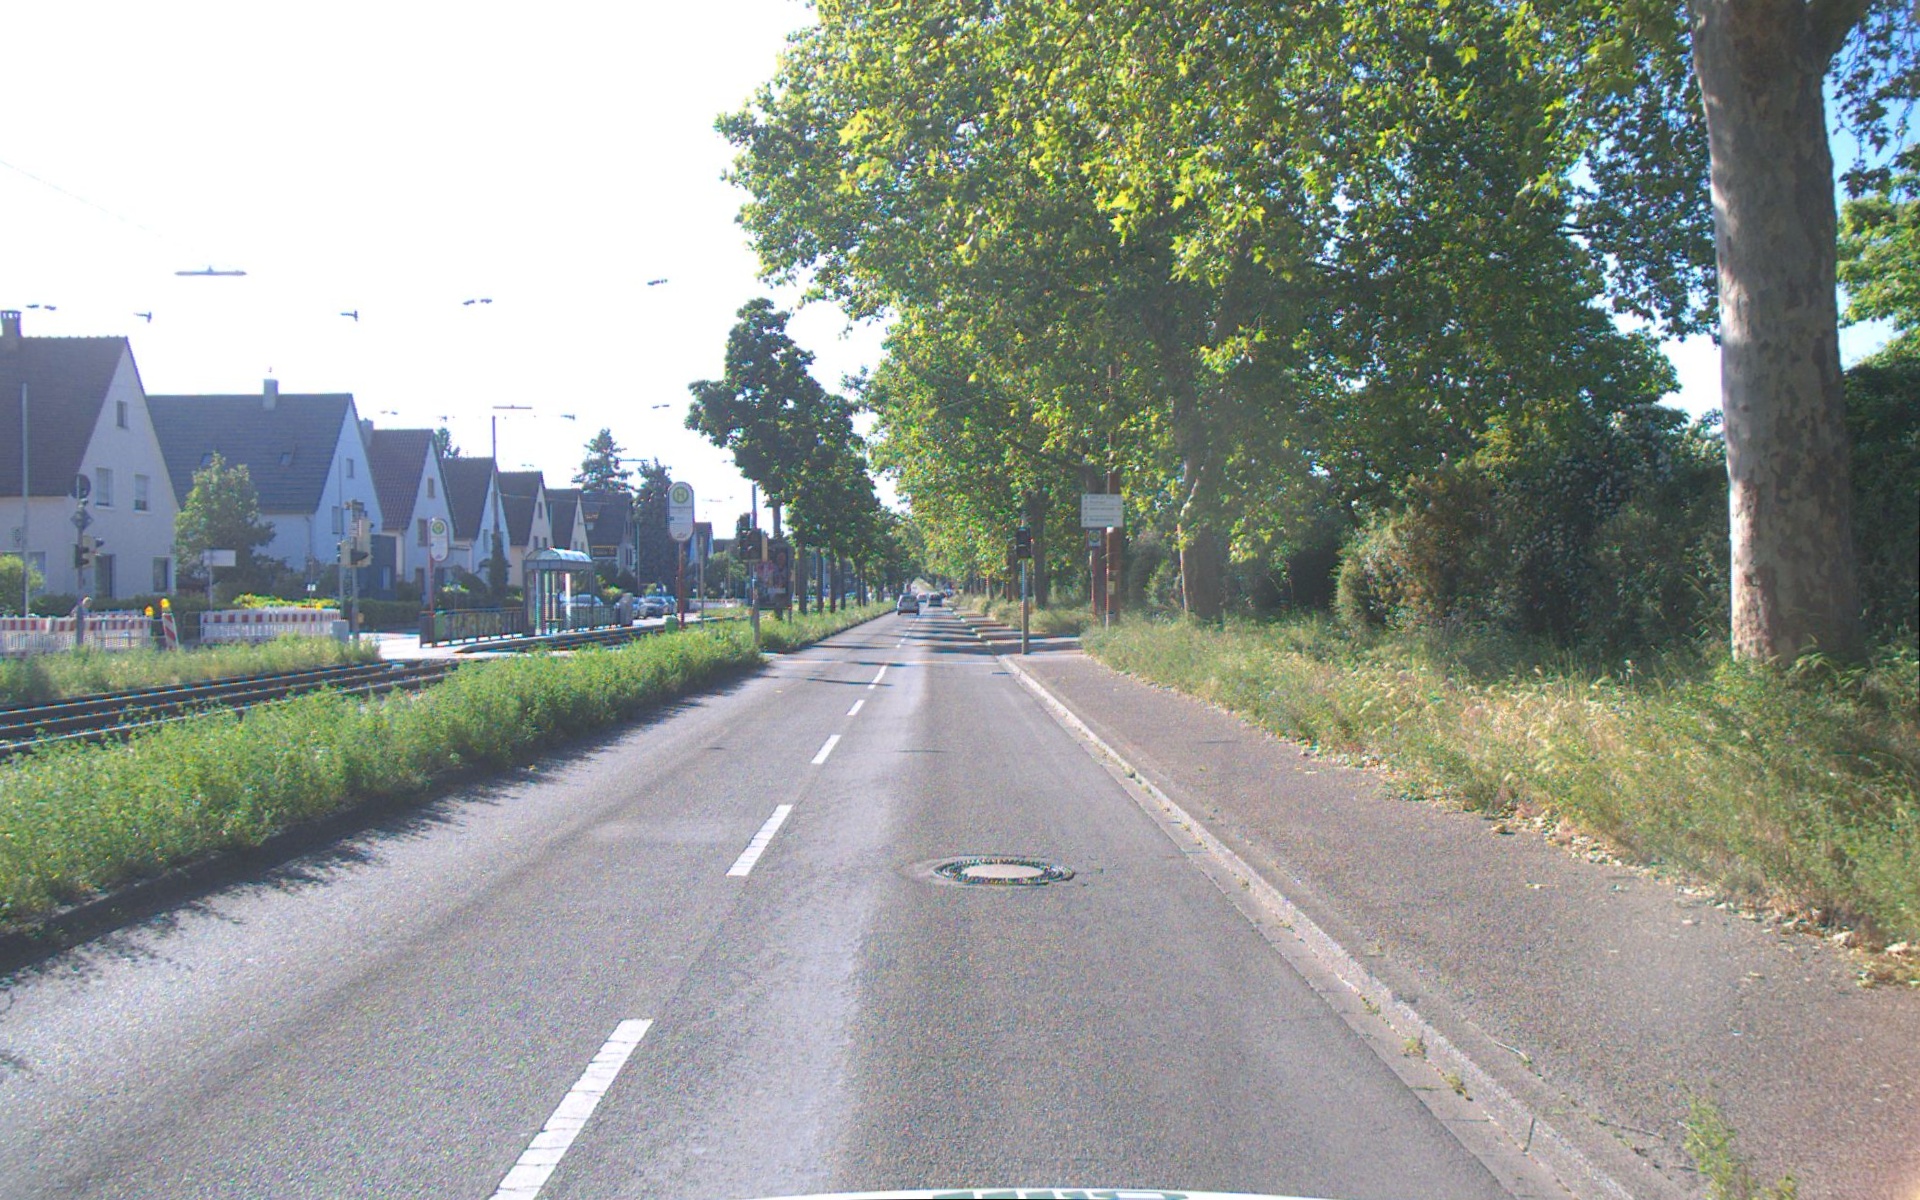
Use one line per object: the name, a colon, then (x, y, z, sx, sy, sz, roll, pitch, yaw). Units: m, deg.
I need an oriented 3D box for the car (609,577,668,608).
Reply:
car: (-28.739, -0.691, 147.926, 4.926, 2.671, 2.102, -1, 1, -1)

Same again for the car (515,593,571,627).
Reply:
car: (-22.574, 0.525, 89.724, 1.953, 1.743, 4.390, 1, 0, -1)

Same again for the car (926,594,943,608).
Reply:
car: (-2.954, 0.109, 191.826, 1.953, 1.631, 4.472, 1, 0, -1)

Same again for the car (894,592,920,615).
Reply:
car: (-3.842, 0.266, 121.123, 1.822, 1.629, 4.227, 1, 0, -1)

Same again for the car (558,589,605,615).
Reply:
car: (-22.752, 0.101, 99.489, 1.887, 1.521, 4.255, 1, 0, -1)

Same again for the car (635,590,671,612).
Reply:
car: (-22.670, 0.092, 122.228, 1.953, 1.475, 4.127, 3, 0, -1)

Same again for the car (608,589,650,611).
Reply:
car: (-22.648, 0.020, 113.338, 1.952, 1.451, 4.410, 1, 0, 1)

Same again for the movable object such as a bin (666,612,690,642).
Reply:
movable object such as a bin: (-5.663, 0.533, 33.225, 0.378, 0.593, 0.379, 1, 0, 8)

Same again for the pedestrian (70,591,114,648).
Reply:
pedestrian: (-24.483, 0.538, 46.673, 0.775, 1.561, 0.814, -1, 2, -1)
